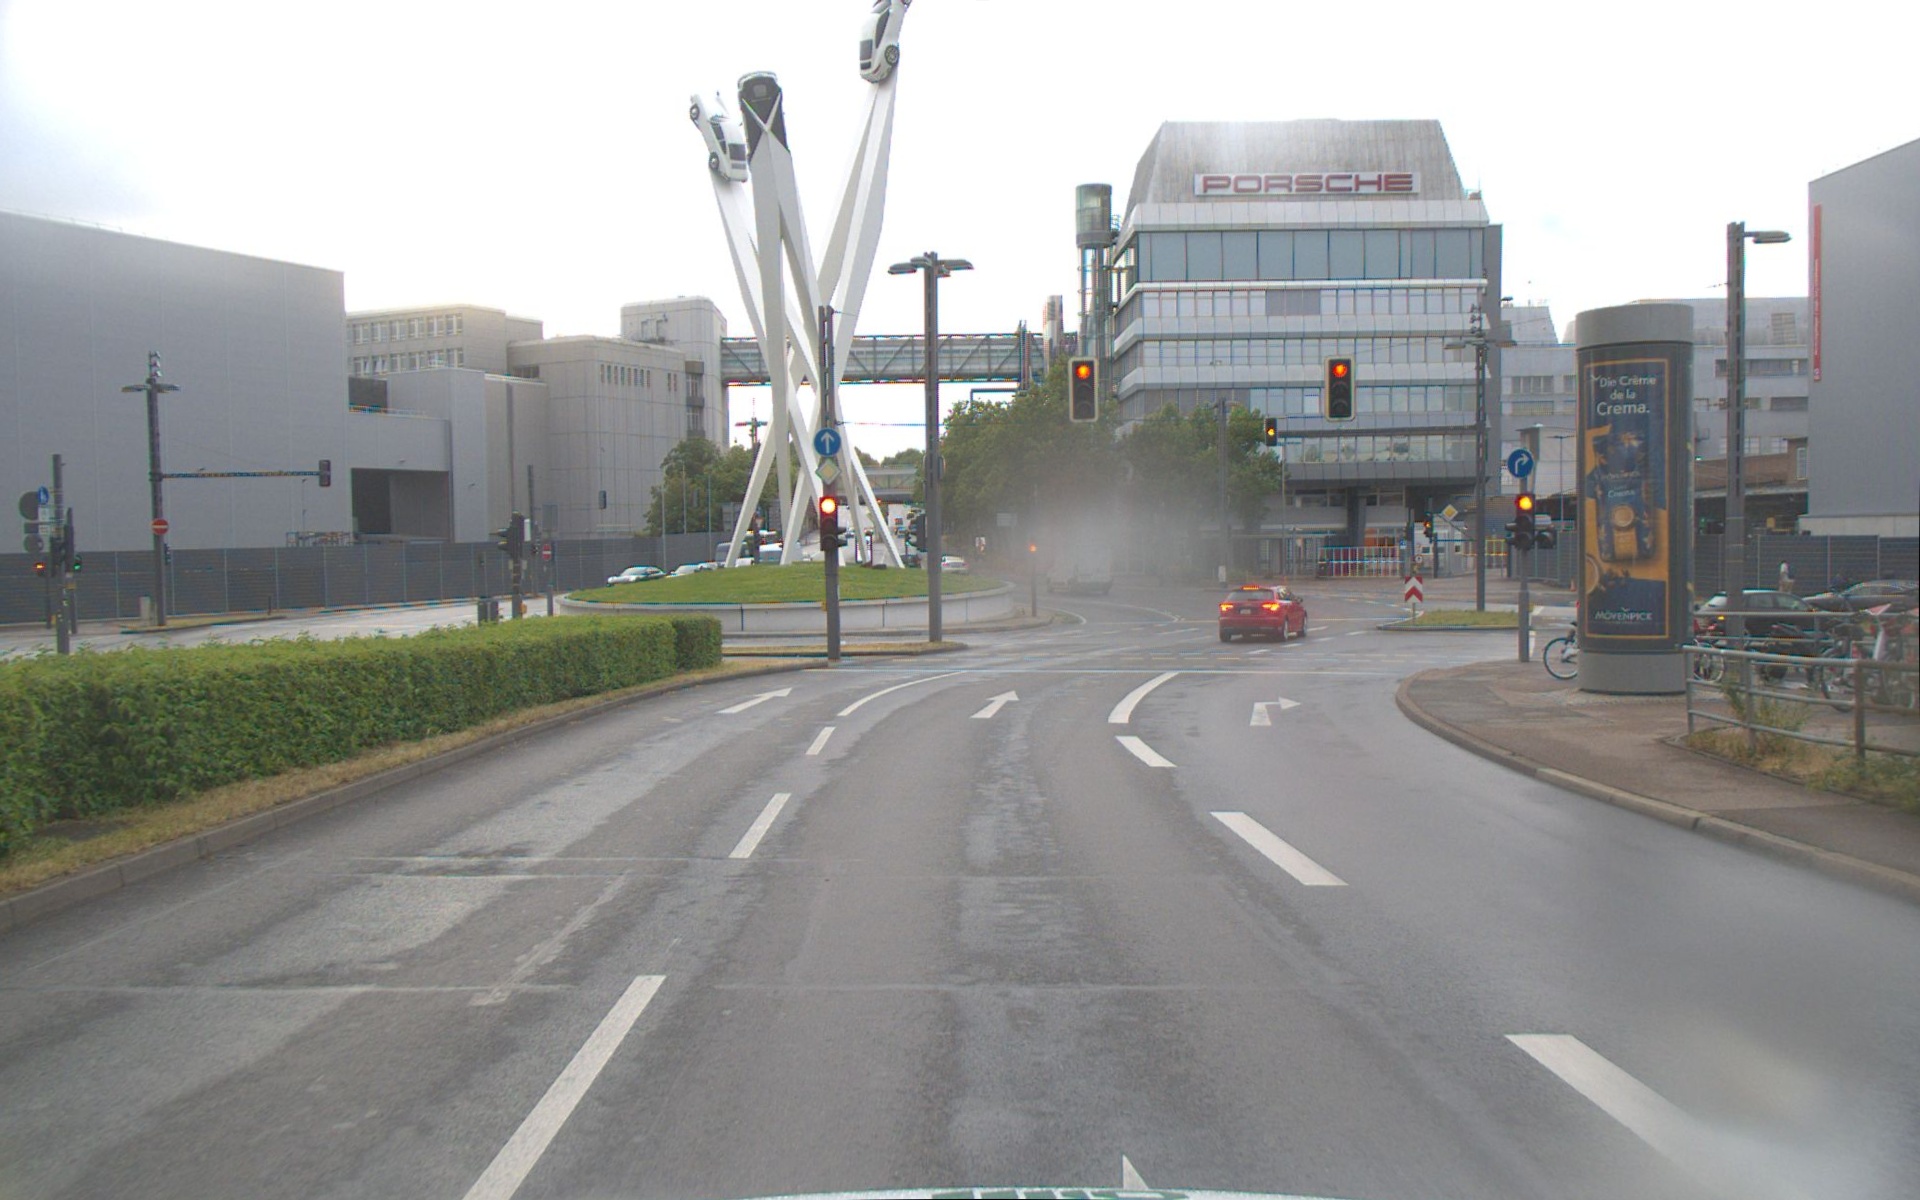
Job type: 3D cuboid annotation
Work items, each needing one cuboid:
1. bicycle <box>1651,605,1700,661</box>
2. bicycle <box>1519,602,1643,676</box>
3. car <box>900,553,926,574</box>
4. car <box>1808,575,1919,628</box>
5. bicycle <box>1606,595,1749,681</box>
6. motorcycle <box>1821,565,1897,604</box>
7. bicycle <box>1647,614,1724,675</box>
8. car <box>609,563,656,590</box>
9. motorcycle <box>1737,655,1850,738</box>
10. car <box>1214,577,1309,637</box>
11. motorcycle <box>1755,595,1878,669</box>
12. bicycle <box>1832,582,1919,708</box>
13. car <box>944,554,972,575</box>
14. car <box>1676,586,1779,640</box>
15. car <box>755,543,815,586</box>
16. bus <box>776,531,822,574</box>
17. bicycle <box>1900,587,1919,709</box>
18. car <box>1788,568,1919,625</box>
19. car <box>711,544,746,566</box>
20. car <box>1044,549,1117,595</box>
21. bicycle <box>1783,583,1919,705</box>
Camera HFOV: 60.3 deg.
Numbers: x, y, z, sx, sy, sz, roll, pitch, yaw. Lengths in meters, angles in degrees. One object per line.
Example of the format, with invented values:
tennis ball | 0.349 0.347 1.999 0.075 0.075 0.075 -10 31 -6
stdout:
bicycle | 15.034 0.674 34.732 0.379 1.117 1.739 -1 0 43
bicycle | 9.910 0.615 26.431 1.732 1.160 0.679 -1 -1 6
car | -3.228 -2.477 113.235 1.527 1.311 3.409 0 0 -6
car | 29.680 0.027 52.963 4.221 1.566 1.748 2 3 41
bicycle | 10.277 0.542 23.709 1.762 1.182 0.592 -1 0 2
motorcycle | 31.934 -0.555 58.761 2.316 1.368 0.650 1 1 40
bicycle | 11.851 0.708 27.081 0.677 0.920 2.176 0 0 10
car | -19.150 -1.370 96.893 1.795 1.498 4.514 -1 1 1
motorcycle | 11.537 1.319 22.957 0.683 1.007 1.751 -1 1 0
car | 7.956 0.181 43.433 1.736 1.490 3.732 -1 0 22
motorcycle | 17.690 0.640 34.215 2.183 1.477 0.756 0 1 22
bicycle | 9.952 0.443 17.284 1.907 1.245 0.593 -1 0 -32
car | -0.154 -2.379 111.702 1.635 1.323 3.882 0 0 -5
car | 19.663 0.322 42.496 1.576 1.313 3.569 -1 0 11
car | -10.658 -2.178 101.157 1.951 2.489 5.431 -1 1 13
bus | -12.756 -3.685 131.697 2.614 3.256 12.668 0 1 -1
bicycle | 10.352 0.453 16.453 1.895 1.198 0.596 -1 0 -17
car | 27.752 -0.118 50.063 4.501 1.566 1.748 2 3 41
car | -16.543 -3.191 118.365 1.795 1.498 4.514 -1 1 1
car | 5.928 -1.359 81.864 2.195 2.144 4.936 0 0 -14
bicycle | 9.849 0.454 18.037 1.906 1.245 0.593 -1 0 -30
